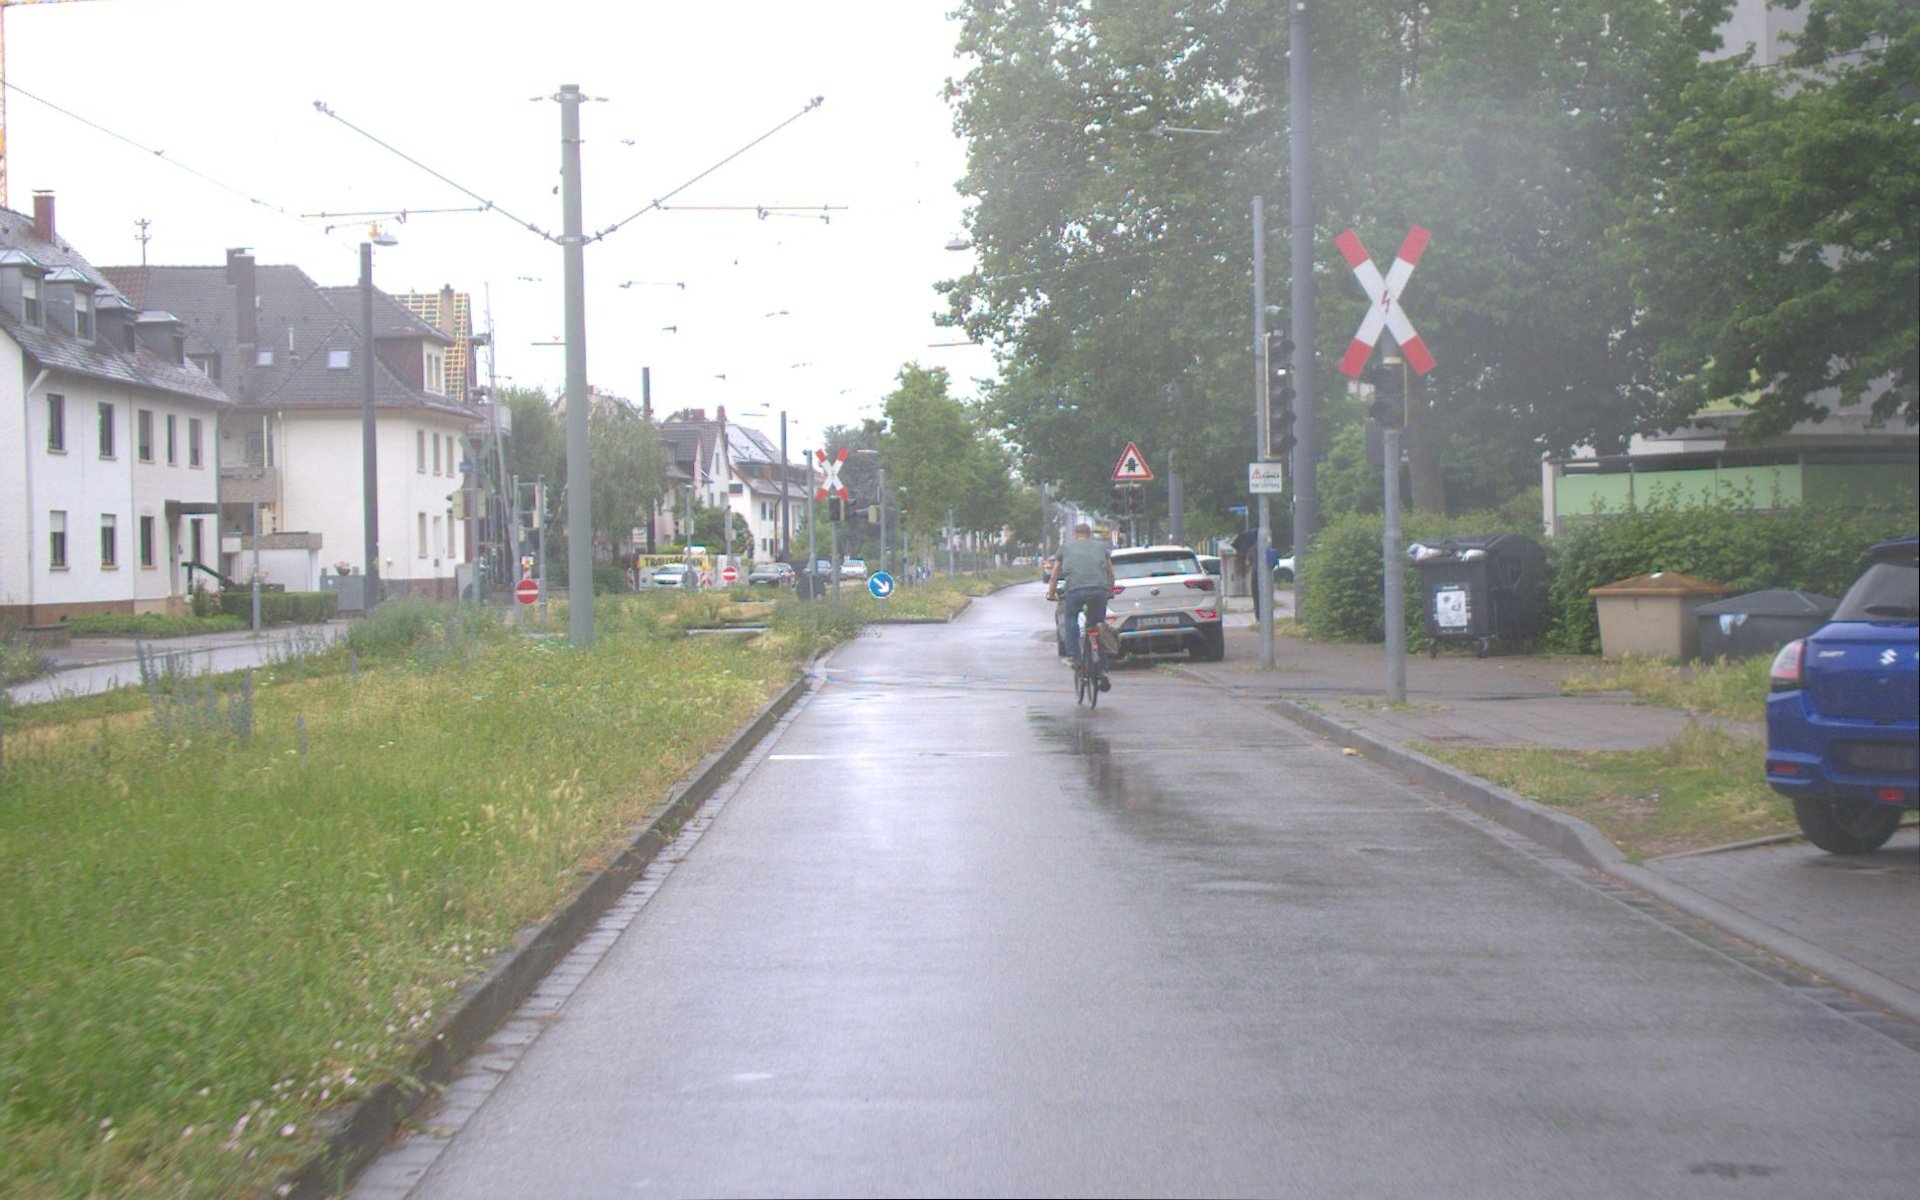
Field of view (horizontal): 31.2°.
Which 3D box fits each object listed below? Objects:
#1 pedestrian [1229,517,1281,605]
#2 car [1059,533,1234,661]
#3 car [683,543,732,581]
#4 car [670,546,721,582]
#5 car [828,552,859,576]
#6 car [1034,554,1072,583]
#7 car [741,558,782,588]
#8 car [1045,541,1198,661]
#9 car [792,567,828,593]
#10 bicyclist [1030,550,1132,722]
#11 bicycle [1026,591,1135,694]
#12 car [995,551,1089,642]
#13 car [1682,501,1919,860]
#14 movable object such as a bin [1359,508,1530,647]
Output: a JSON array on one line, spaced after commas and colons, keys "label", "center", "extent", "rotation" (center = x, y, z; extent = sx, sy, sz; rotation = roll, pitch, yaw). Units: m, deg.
[{"label": "pedestrian", "center": [5.849, -0.777, 68.114], "extent": [0.748, 1.710, 0.749], "rotation": [-3, 0, 24]}, {"label": "car", "center": [2.449, -0.036, 45.966], "extent": [1.954, 1.548, 4.000], "rotation": [-3, 0, -1]}, {"label": "car", "center": [-12.298, -1.843, 167.657], "extent": [1.993, 1.699, 4.000], "rotation": [-1, -1, 1]}, {"label": "car", "center": [-12.438, -1.686, 162.029], "extent": [1.993, 1.539, 4.000], "rotation": [-1, -1, 1]}, {"label": "car", "center": [-8.162, -2.533, 240.988], "extent": [1.993, 1.539, 4.000], "rotation": [-1, -1, 1]}, {"label": "car", "center": [5.259, -1.789, 195.328], "extent": [1.993, 1.487, 4.000], "rotation": [-1, -1, 0]}, {"label": "car", "center": [-11.145, -1.518, 193.243], "extent": [1.993, 1.539, 4.000], "rotation": [-1, -1, 1]}, {"label": "car", "center": [2.381, 0.016, 51.749], "extent": [1.941, 1.646, 4.000], "rotation": [-3, 0, -1]}, {"label": "car", "center": [-9.533, -1.279, 218.865], "extent": [1.993, 1.539, 4.000], "rotation": [-1, -1, 1]}, {"label": "bicyclist", "center": [1.124, 0.333, 32.156], "extent": [0.831, 1.553, 0.914], "rotation": [-2, 0, -3]}, {"label": "bicycle", "center": [1.119, 0.387, 32.349], "extent": [0.821, 0.909, 1.986], "rotation": [-2, 0, -3]}, {"label": "car", "center": [1.912, -0.081, 81.265], "extent": [1.941, 2.006, 4.000], "rotation": [-3, 0, -1]}, {"label": "car", "center": [5.512, 0.271, 15.827], "extent": [3.987, 1.478, 2.000], "rotation": [-2, 3, -32]}, {"label": "movable object such as a bin", "center": [6.142, -0.288, 43.668], "extent": [1.549, 1.698, 1.501], "rotation": [-2, 1, -24]}]
